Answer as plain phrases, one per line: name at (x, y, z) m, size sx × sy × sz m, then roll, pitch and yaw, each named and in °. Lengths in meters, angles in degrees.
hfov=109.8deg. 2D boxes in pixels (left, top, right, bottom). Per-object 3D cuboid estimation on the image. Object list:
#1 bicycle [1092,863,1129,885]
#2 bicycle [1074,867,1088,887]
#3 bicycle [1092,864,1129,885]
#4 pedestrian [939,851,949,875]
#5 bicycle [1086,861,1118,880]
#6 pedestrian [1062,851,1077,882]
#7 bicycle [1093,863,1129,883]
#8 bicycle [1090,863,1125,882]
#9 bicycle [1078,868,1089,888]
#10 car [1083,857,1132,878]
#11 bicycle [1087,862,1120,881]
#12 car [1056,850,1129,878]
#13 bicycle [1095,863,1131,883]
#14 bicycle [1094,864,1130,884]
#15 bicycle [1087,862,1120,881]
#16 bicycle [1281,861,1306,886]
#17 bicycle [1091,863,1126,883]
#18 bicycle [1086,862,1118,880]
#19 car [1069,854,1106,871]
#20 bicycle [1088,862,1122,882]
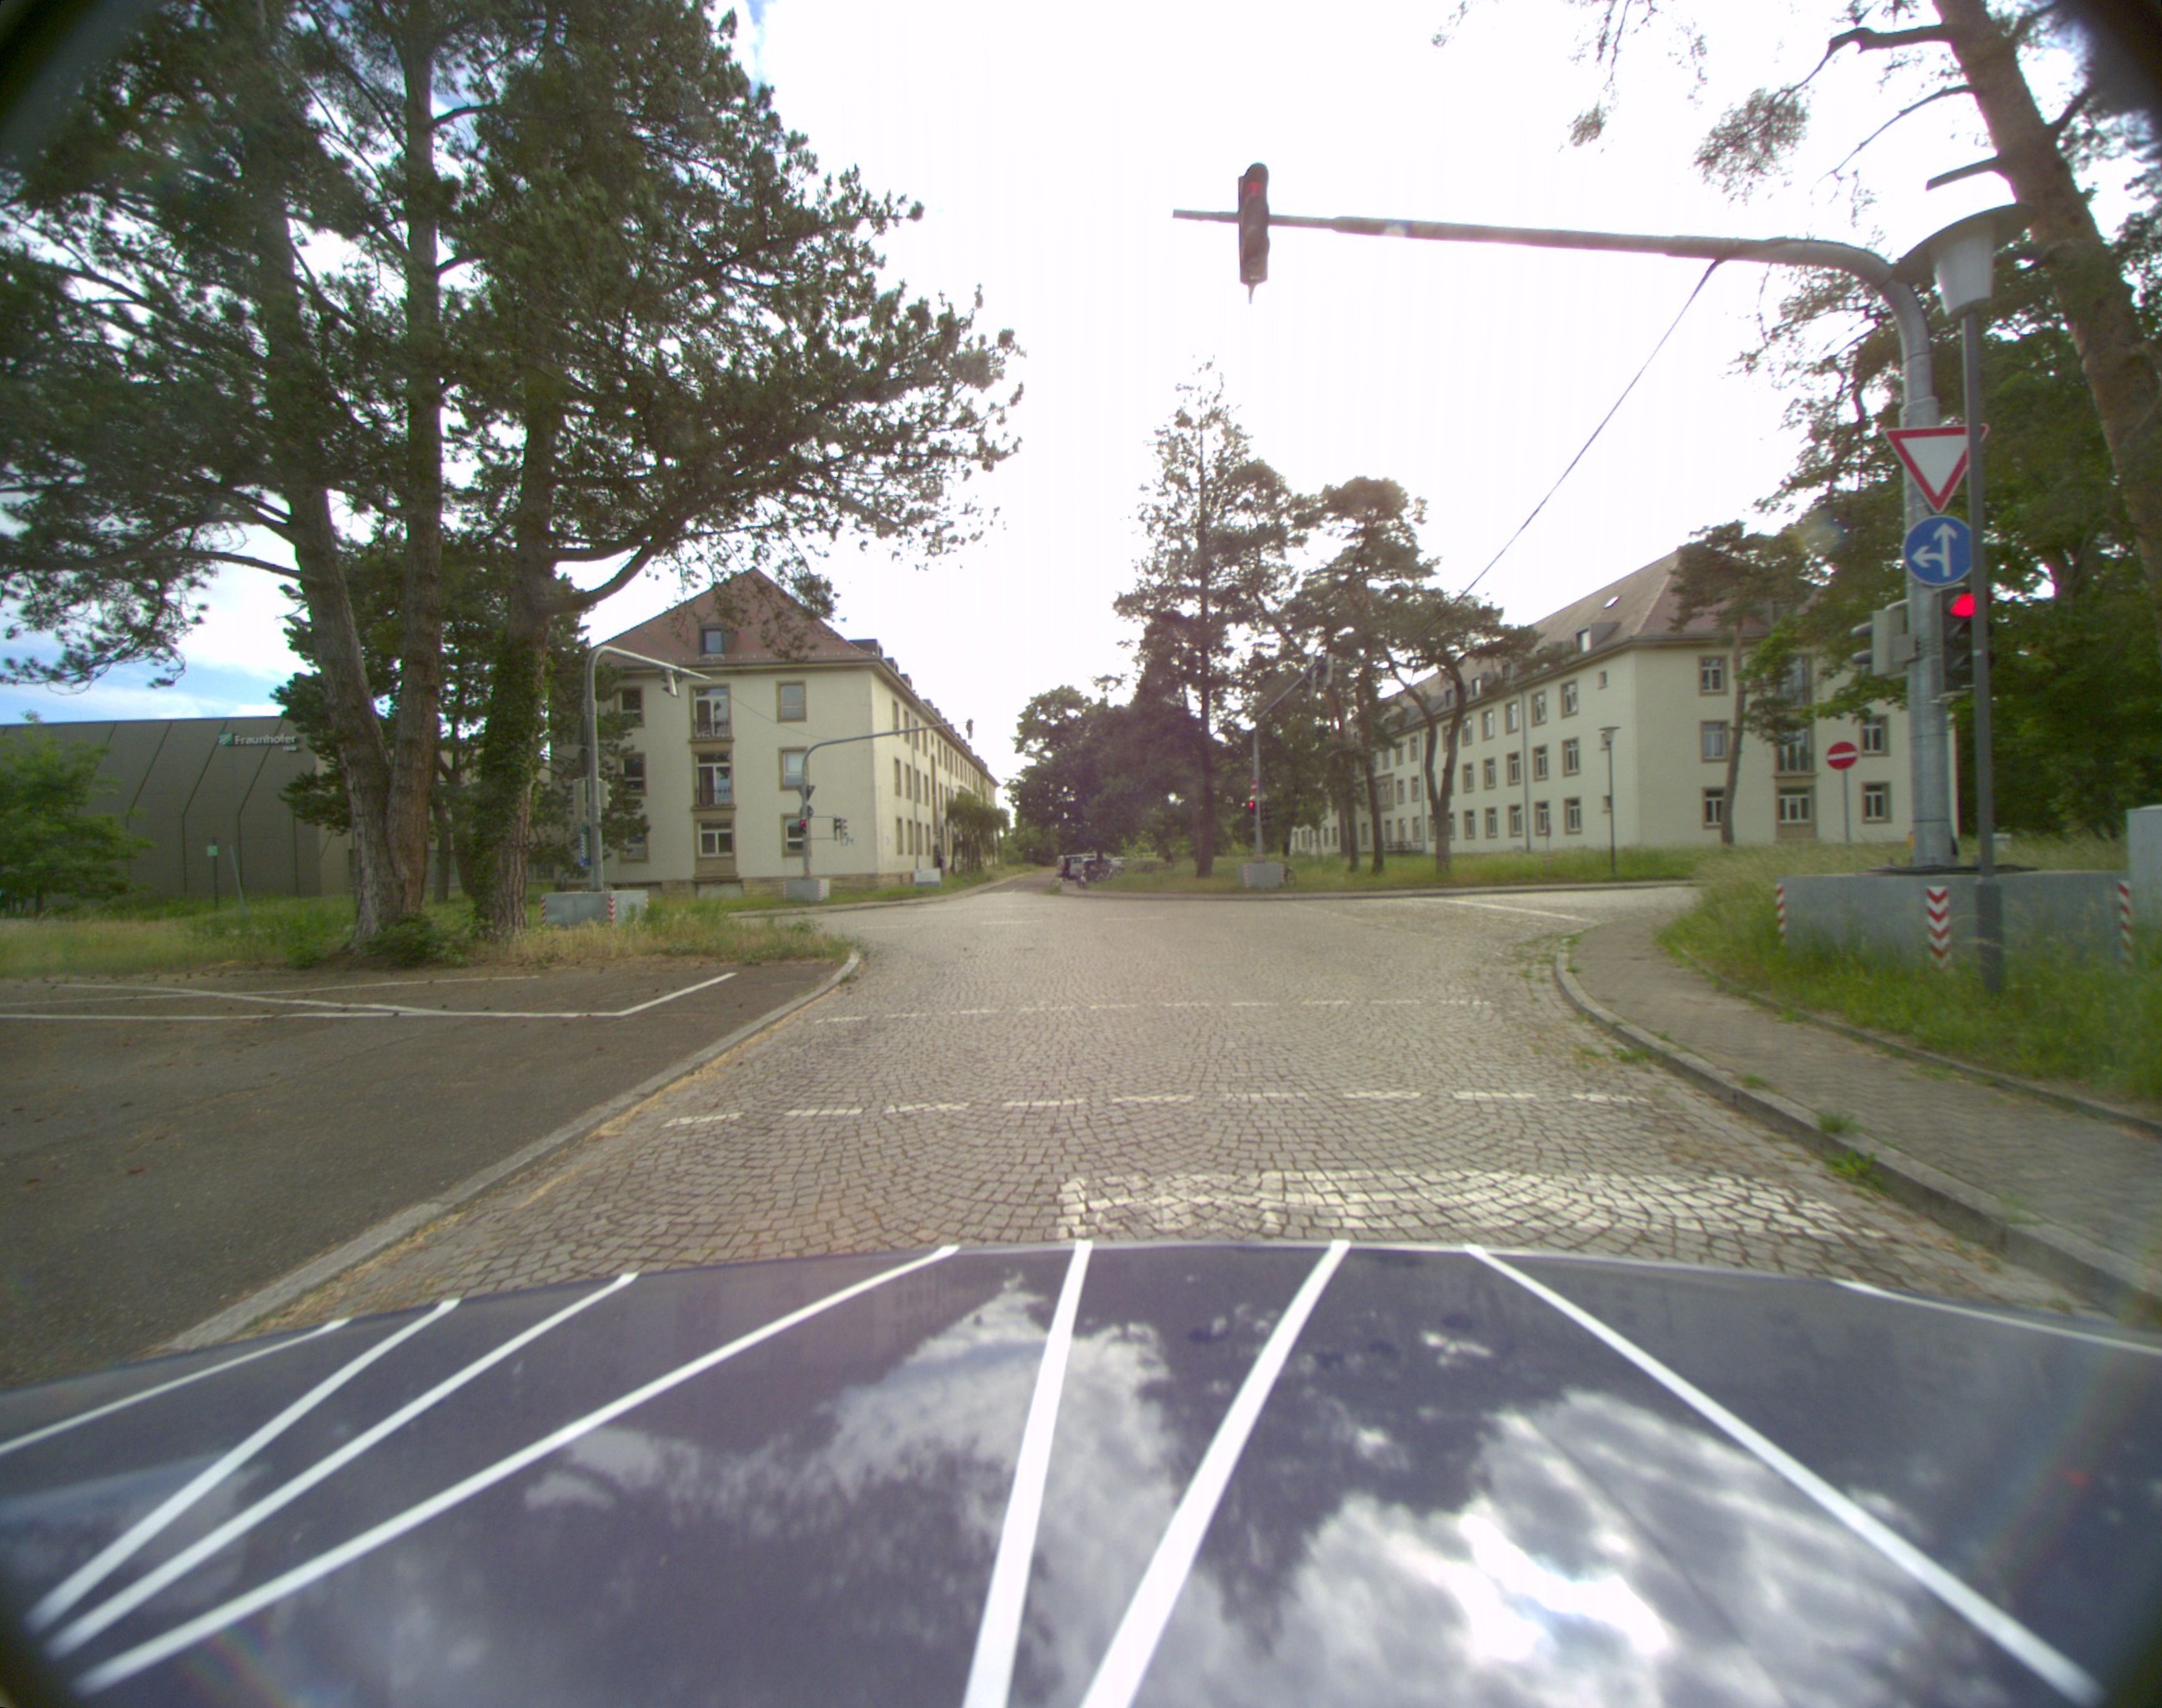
bicycle at (1.627, 1.083, 41.593) m, size 1.951 × 1.104 × 0.562 m, roll -2°, pitch 0°, yaw -2°
bicycle at (0.023, 1.167, 39.420) m, size 0.459 × 0.968 × 1.663 m, roll -2°, pitch 0°, yaw 8°
bicycle at (1.579, 1.115, 41.037) m, size 1.899 × 1.058 × 0.616 m, roll -2°, pitch 0°, yaw -2°
pedestrian at (-10.165, 0.666, 56.329) m, size 0.568 × 1.691 × 0.532 m, roll -2°, pitch 0°, yaw 3°
bicycle at (1.294, 1.034, 47.630) m, size 1.951 × 1.058 × 0.562 m, roll -2°, pitch 0°, yaw -2°
pedestrian at (-0.730, 0.770, 47.674) m, size 0.589 × 1.926 × 0.792 m, roll -2°, pitch 1°, yaw -26°
bicycle at (1.688, 1.082, 43.255) m, size 1.951 × 1.058 × 0.562 m, roll -2°, pitch 0°, yaw -2°
bicycle at (1.534, 1.068, 44.375) m, size 1.951 × 1.058 × 0.562 m, roll -2°, pitch 0°, yaw -2°
bicycle at (0.129, 1.171, 37.599) m, size 0.459 × 0.903 × 1.663 m, roll -2°, pitch 0°, yaw 3°
car at (1.901, 0.977, 55.836) m, size 3.440 × 1.440 × 1.913 m, roll -2°, pitch 0°, yaw -2°
bicycle at (1.348, 1.049, 46.354) m, size 1.951 × 1.058 × 0.562 m, roll -2°, pitch 0°, yaw -2°
car at (0.878, 0.758, 59.458) m, size 5.367 × 1.987 × 2.289 m, roll -2°, pitch 0°, yaw -9°
bicycle at (1.779, 1.087, 42.771) m, size 1.951 × 1.058 × 0.562 m, roll -2°, pitch 0°, yaw -2°
bicycle at (1.702, 1.097, 42.123) m, size 1.951 × 1.058 × 0.562 m, roll -2°, pitch 0°, yaw -2°
bicycle at (1.347, 1.058, 45.627) m, size 1.951 × 1.058 × 0.562 m, roll -2°, pitch 0°, yaw -2°
bicycle at (7.980, 0.713, 28.521) m, size 0.294 × 0.910 × 1.052 m, roll -2°, pitch 0°, yaw -22°
bicycle at (1.563, 1.074, 43.835) m, size 1.951 × 1.058 × 0.562 m, roll -2°, pitch 0°, yaw -2°
bicycle at (1.294, 1.042, 47.030) m, size 1.951 × 1.058 × 0.562 m, roll -2°, pitch 0°, yaw -2°
car at (0.609, 0.812, 72.998) m, size 3.440 × 1.440 × 1.913 m, roll -2°, pitch 0°, yaw -2°
bicycle at (1.423, 1.064, 44.920) m, size 1.951 × 1.058 × 0.562 m, roll -2°, pitch 0°, yaw -2°
